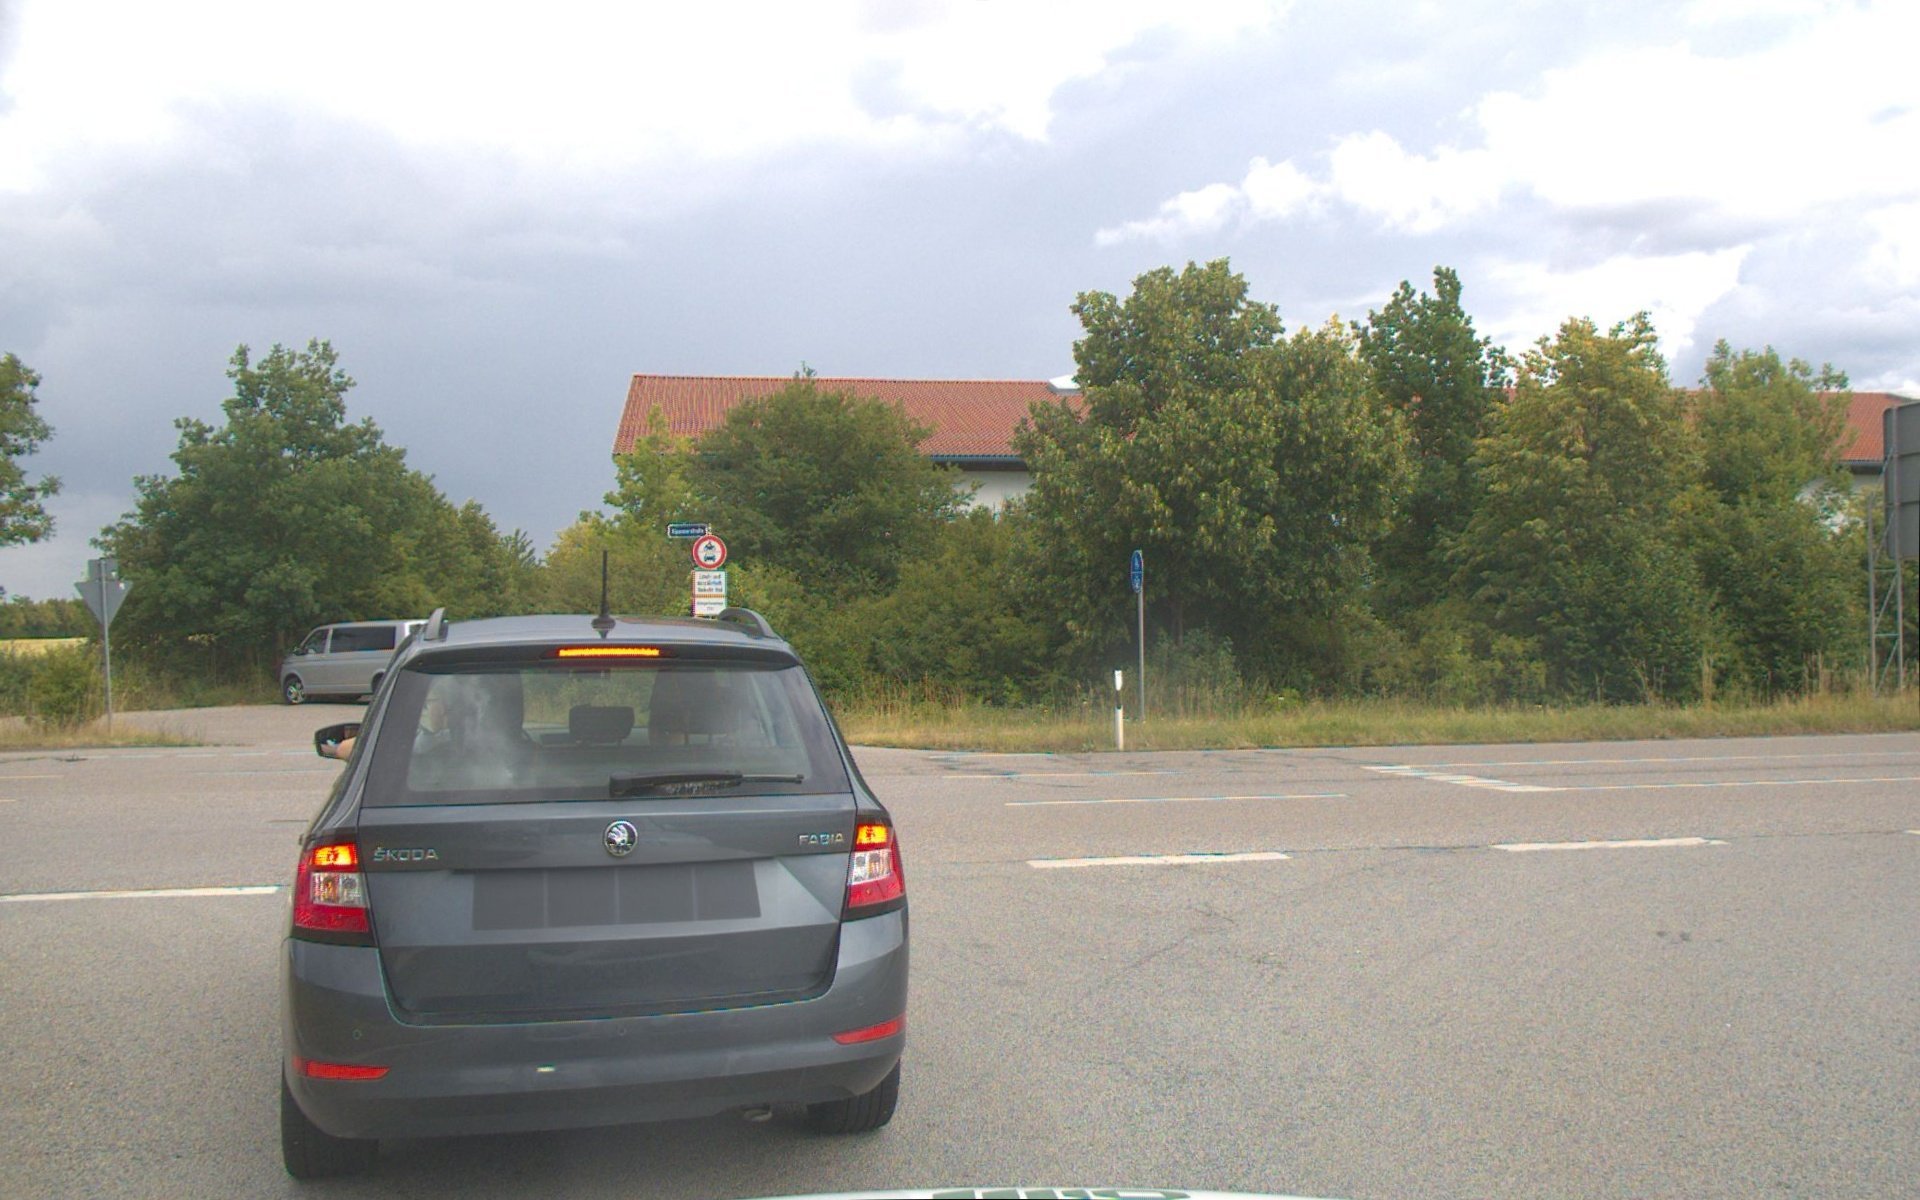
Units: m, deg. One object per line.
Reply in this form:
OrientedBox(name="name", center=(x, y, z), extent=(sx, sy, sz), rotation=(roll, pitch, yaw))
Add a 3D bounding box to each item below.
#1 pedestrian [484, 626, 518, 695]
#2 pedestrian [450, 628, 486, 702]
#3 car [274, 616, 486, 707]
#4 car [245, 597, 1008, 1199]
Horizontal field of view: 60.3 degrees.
OrientedBox(name="pedestrian", center=(-11.604, 1.528, 41.796), extent=(0.571, 1.712, 0.566), rotation=(-1, 0, 17))
OrientedBox(name="pedestrian", center=(-11.944, 1.563, 40.158), extent=(0.518, 1.756, 0.640), rotation=(-1, 0, 29))
OrientedBox(name="car", center=(-14.216, 1.472, 40.518), extent=(4.807, 2.049, 2.338), rotation=(-1, 1, 31))
OrientedBox(name="car", center=(-1.232, 0.764, 5.398), extent=(1.650, 1.488, 3.688), rotation=(0, -1, -18))
